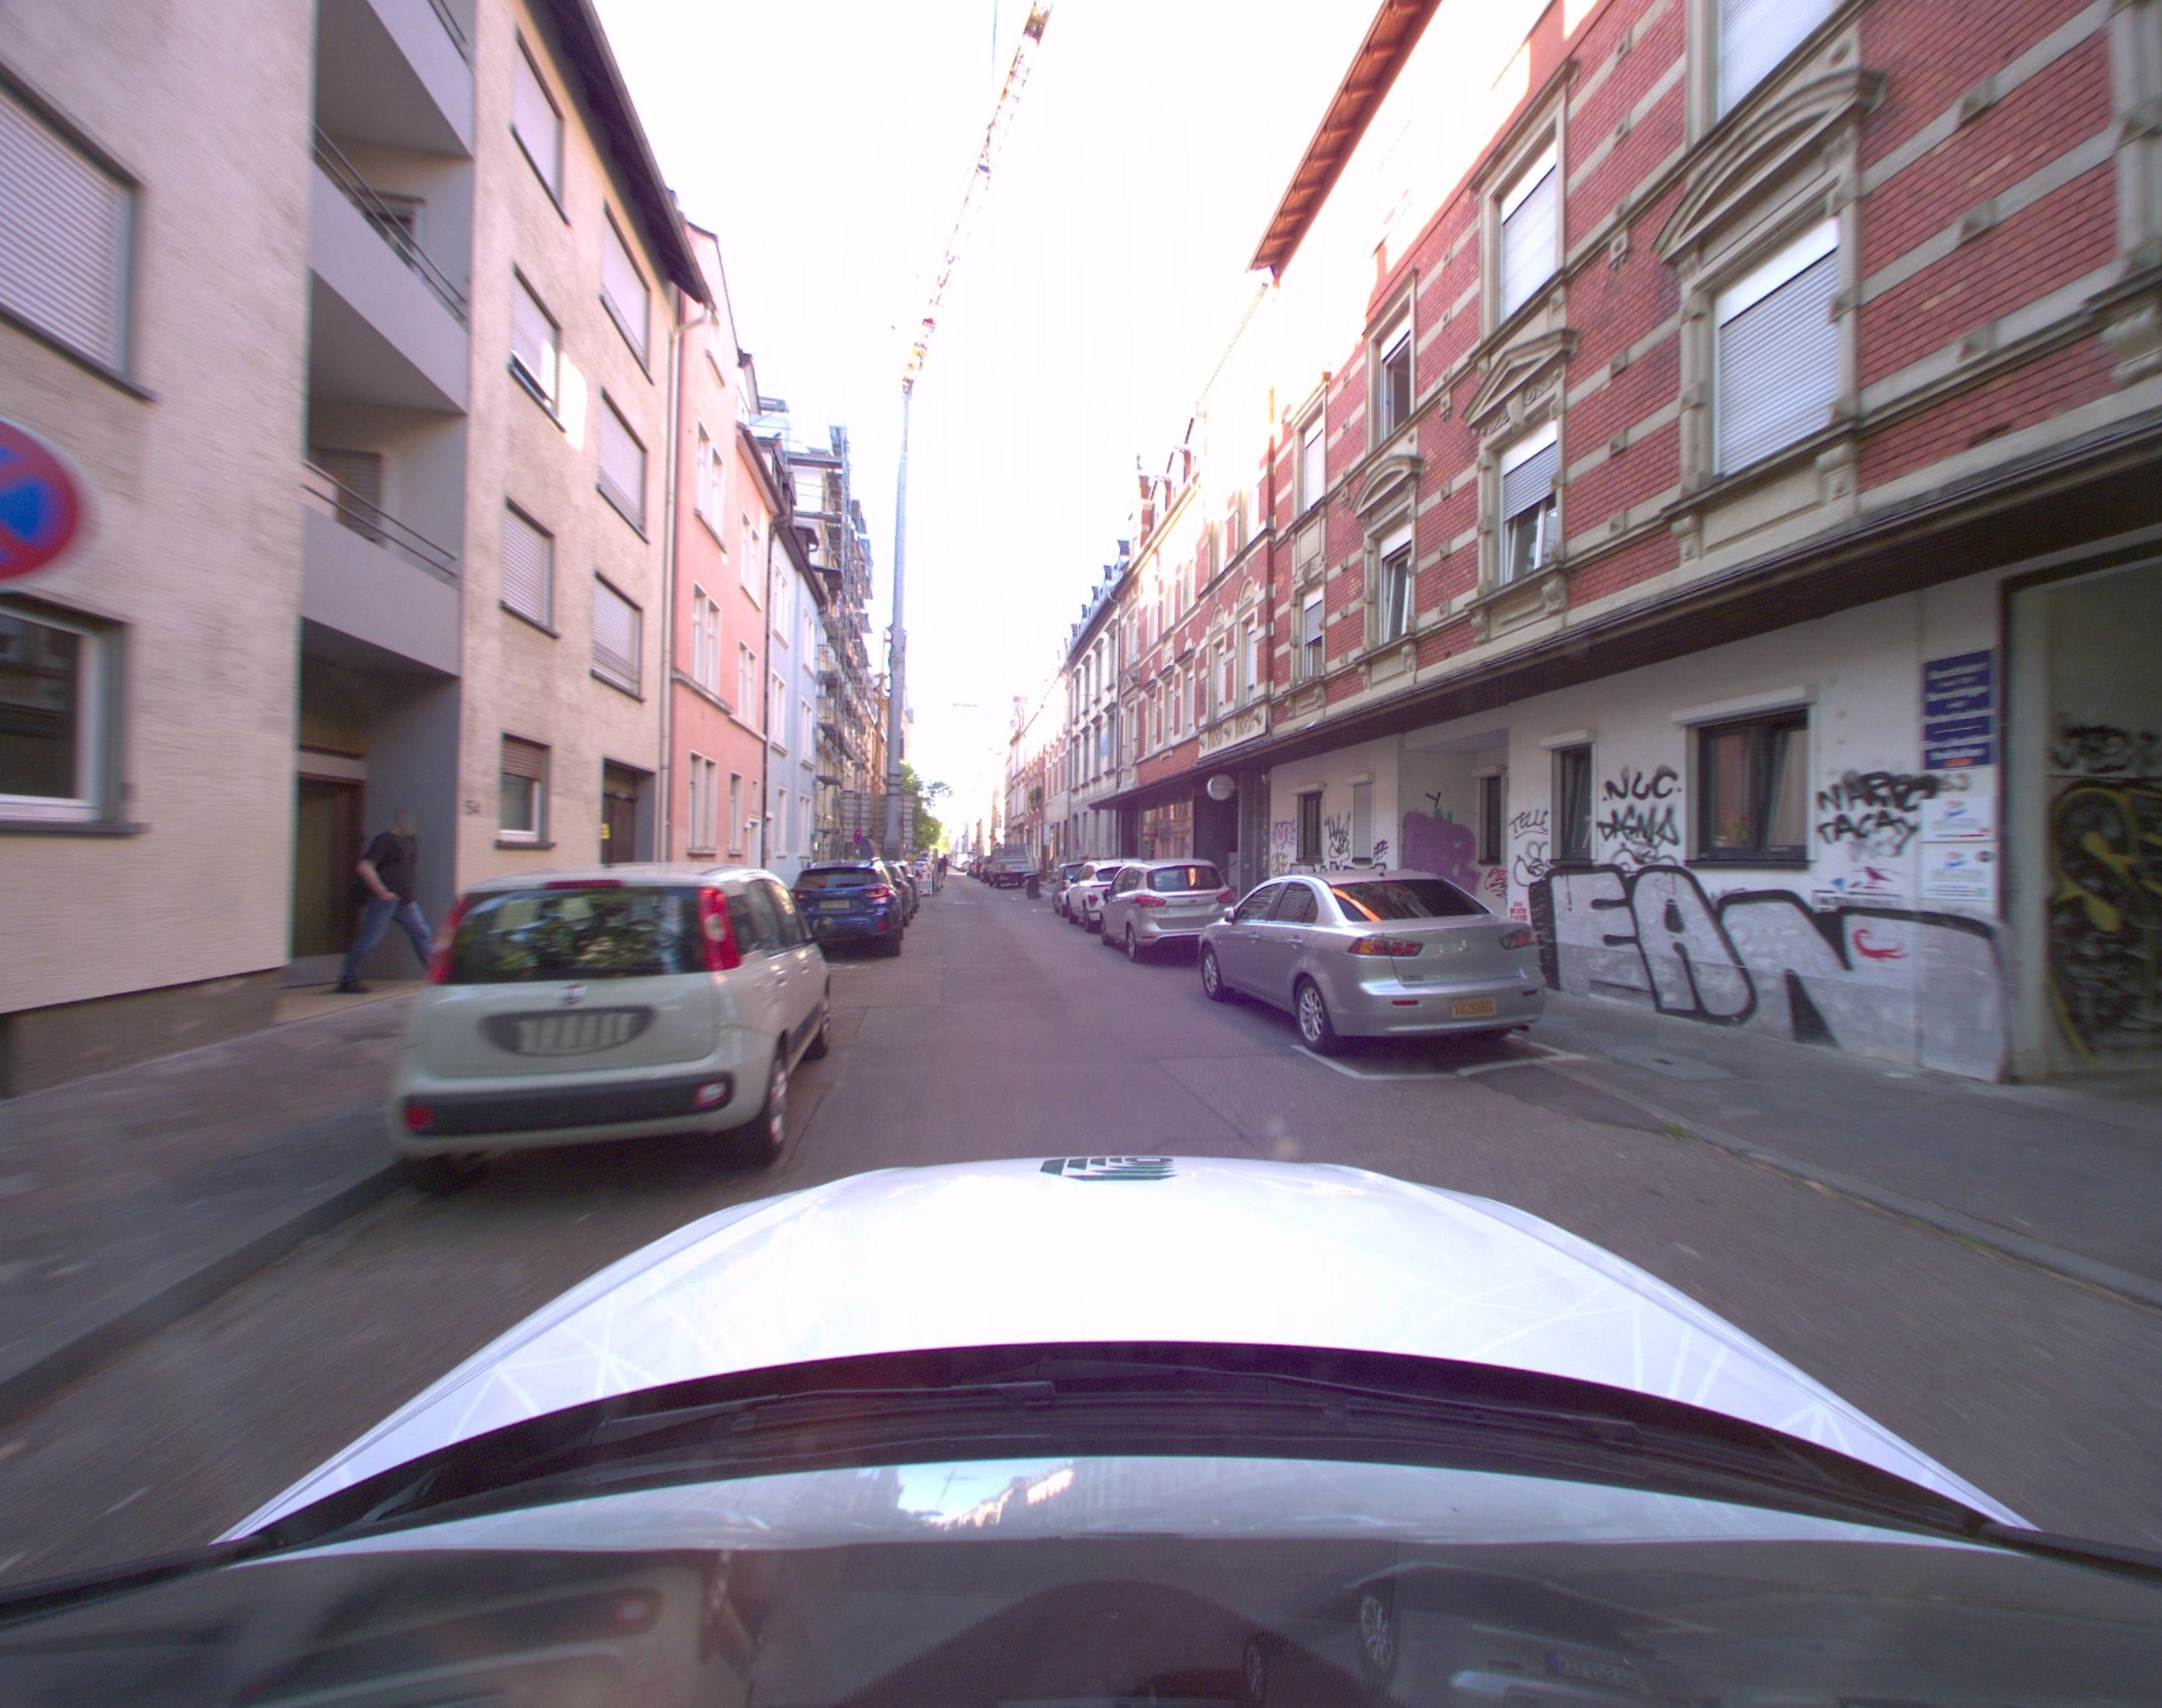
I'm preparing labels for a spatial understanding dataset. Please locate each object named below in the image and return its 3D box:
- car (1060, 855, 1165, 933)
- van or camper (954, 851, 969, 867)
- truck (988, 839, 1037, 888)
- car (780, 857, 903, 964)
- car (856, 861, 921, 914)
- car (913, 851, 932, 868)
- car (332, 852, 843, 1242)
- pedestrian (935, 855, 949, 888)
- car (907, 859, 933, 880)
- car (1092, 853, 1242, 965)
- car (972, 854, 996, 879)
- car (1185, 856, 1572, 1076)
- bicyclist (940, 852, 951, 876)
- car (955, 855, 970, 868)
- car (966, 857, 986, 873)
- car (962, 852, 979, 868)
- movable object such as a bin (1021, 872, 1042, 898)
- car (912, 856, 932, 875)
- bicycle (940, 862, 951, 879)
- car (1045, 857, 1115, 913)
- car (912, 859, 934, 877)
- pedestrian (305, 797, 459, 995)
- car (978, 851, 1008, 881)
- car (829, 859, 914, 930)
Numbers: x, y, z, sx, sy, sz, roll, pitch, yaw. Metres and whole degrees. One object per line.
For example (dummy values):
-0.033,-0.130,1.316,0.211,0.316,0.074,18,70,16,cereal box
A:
0.640,0.872,19.751,1.746,1.675,4.327,0,-1,-9,car
-19.717,0.842,134.304,1.996,2.508,4.182,-1,0,-14,van or camper
-3.991,0.518,46.476,2.191,2.607,5.214,-1,0,-11,truck
-4.024,0.852,14.306,1.731,1.540,4.359,-1,0,-12,car
-5.810,0.958,24.996,1.675,1.477,4.591,0,-1,-10,car
-14.856,0.516,76.012,1.676,1.571,3.853,0,-1,-12,car
-2.586,0.787,5.334,1.676,1.540,3.853,-1,0,-12,car
-7.490,0.947,43.892,0.658,1.732,0.717,-2,0,-11,pedestrian
-11.379,1.077,57.404,1.676,1.445,3.853,0,-1,-12,car
1.332,0.836,14.113,1.639,1.656,3.857,1,-1,-9,car
-8.257,1.069,68.985,1.676,2.031,3.853,0,-1,-12,car
2.491,0.810,8.119,1.721,1.562,4.384,0,0,-9,car
-9.965,0.728,59.883,0.730,1.761,0.832,1,0,-10,bicyclist
-17.433,1.149,119.719,1.994,1.849,3.984,-1,0,-11,car
-10.591,1.069,82.221,1.676,1.571,3.853,0,-1,-12,car
-14.479,0.766,106.274,1.994,2.014,3.985,1,0,-11,car
-2.087,1.297,34.395,0.795,1.056,0.658,0,-1,-10,movable object such as a bin
-13.834,0.991,70.841,1.676,1.571,3.853,0,-1,-12,car
-9.973,1.189,59.867,0.724,1.186,2.036,1,0,-9,bicycle
-0.109,0.889,24.869,1.596,1.560,3.802,0,0,-8,car
-12.856,1.119,66.065,1.676,1.445,3.853,0,-1,-12,car
-6.790,0.387,7.958,0.907,1.839,0.670,0,-1,-10,pedestrian
-6.134,0.820,56.719,1.676,1.963,4.091,0,-1,-12,car
-4.980,0.894,19.850,1.675,1.512,4.399,0,-1,-10,car
